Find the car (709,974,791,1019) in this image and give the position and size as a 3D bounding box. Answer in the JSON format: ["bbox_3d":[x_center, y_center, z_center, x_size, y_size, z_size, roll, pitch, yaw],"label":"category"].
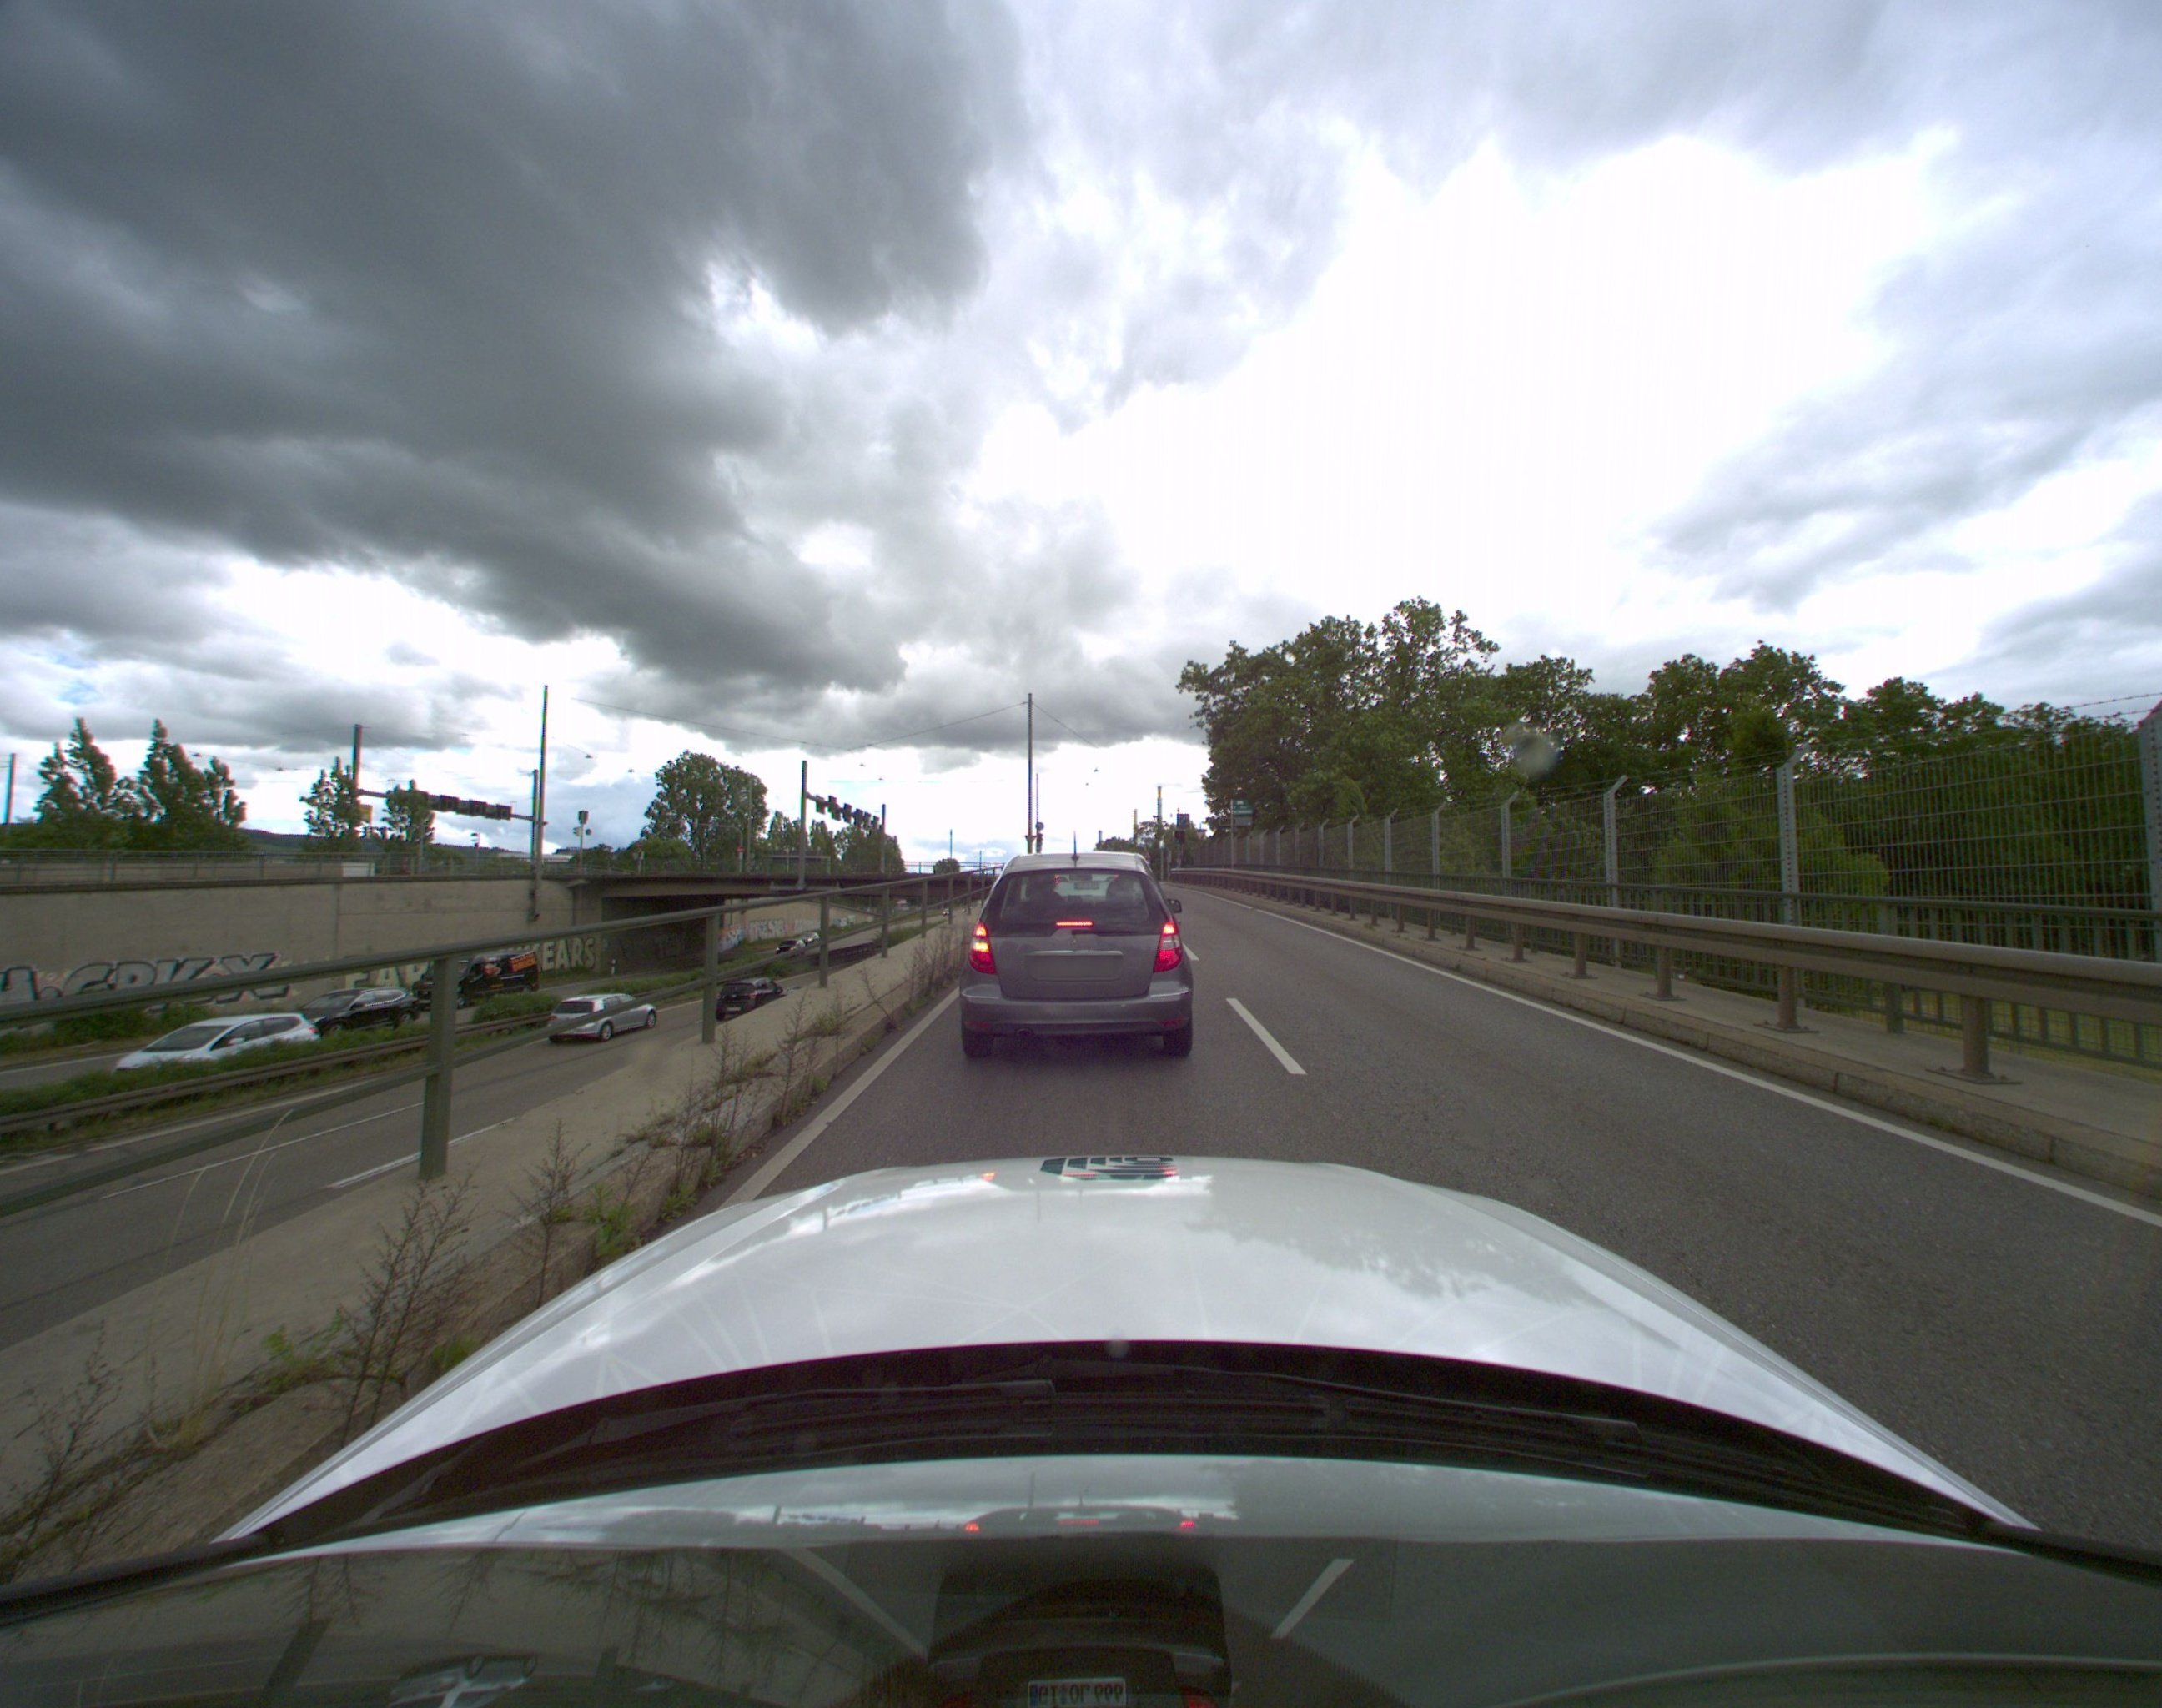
[{"bbox_3d":[-12.874,5.535,31.922,1.718,1.327,3.645,-1,-4,-1],"label":"car"}]

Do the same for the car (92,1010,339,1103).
[{"bbox_3d":[-22.201,5.148,21.184,1.987,1.662,3.999,0,-4,1],"label":"car"}]

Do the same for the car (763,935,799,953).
[{"bbox_3d":[-30.283,9.110,82.352,1.987,1.662,3.999,0,-4,1],"label":"car"}]

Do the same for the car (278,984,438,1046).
[{"bbox_3d":[-25.581,5.654,29.043,1.987,1.662,3.999,0,-4,1],"label":"car"}]

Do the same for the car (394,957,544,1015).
[{"bbox_3d":[-28.752,6.155,38.658,2.282,2.156,6.183,-1,-4,1],"label":"car"}]

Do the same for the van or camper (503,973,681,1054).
[{"bbox_3d":[-15.908,5.138,27.073,1.875,1.869,6.348,0,-4,2],"label":"van or camper"}]

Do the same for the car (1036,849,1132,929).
[{"bbox_3d":[0.119,0.715,19.110,1.986,1.603,4.002,-1,1,1],"label":"car"}]

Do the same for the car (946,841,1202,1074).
[{"bbox_3d":[0.096,0.713,7.677,1.742,1.580,4.090,-1,0,4],"label":"car"}]

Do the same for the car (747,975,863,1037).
[{"bbox_3d":[-9.421,5.186,28.223,1.923,1.501,4.315,-2,-3,10],"label":"car"}]
